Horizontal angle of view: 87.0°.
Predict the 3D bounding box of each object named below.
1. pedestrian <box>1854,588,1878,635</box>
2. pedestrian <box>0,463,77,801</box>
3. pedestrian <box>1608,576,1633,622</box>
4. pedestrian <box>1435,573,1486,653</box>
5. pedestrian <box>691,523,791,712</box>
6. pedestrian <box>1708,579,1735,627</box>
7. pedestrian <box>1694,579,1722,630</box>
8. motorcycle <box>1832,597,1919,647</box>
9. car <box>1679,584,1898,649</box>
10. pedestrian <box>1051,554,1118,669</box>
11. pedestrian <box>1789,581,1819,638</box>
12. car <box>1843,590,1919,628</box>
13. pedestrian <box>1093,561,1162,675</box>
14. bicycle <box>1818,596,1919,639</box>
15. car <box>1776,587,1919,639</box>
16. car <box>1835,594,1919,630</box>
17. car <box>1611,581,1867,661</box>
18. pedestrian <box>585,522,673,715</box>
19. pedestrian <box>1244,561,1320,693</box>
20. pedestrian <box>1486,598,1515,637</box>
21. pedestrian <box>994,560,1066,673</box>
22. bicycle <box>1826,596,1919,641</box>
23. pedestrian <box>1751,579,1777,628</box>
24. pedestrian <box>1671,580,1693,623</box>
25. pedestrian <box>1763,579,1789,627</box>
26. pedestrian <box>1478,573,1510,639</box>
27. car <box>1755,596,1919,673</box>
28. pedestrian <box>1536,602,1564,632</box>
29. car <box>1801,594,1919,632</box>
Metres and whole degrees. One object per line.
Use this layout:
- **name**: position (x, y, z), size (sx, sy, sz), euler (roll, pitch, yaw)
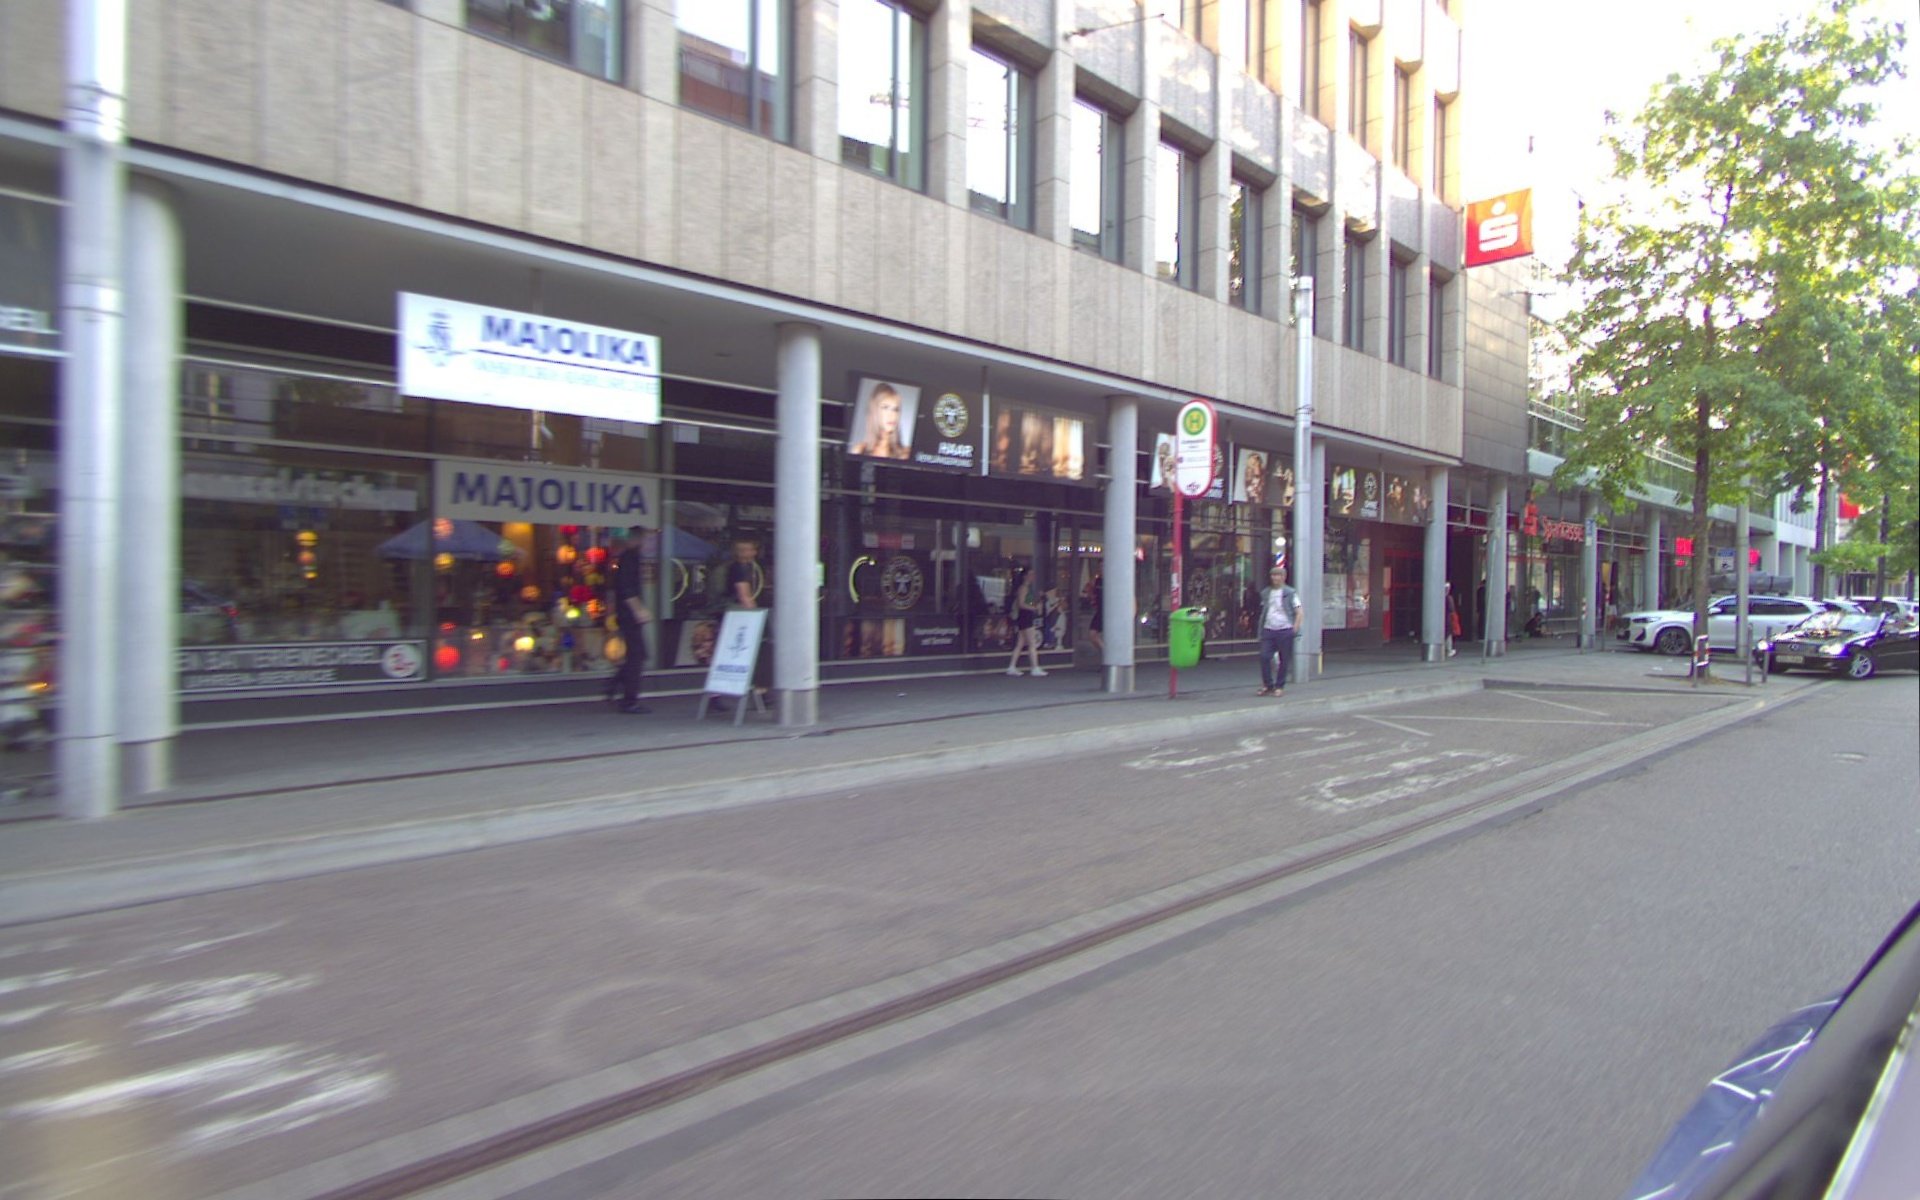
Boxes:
- **pedestrian**: position (33.206, 0.412, 37.086), size (0.616, 1.712, 0.618), euler (1, 0, 44)
- **pedestrian**: position (-5.771, 0.179, 6.122), size (0.644, 1.968, 0.579), euler (0, 2, -42)
- **pedestrian**: position (24.936, -0.054, 38.201), size (0.620, 1.712, 0.555), euler (1, 1, 18)
- **pedestrian**: position (10.834, 0.263, 21.898), size (0.728, 1.664, 0.749), euler (0, 2, -42)
- **pedestrian**: position (-2.327, 0.164, 10.756), size (0.782, 1.912, 0.708), euler (0, 2, -41)
- **pedestrian**: position (27.849, 0.112, 37.011), size (0.617, 1.712, 0.617), euler (0, 2, -41)
- **pedestrian**: position (25.861, 0.146, 34.983), size (0.617, 1.712, 0.617), euler (0, 2, -41)
- **motorcycle**: position (28.173, 0.662, 30.854), size (2.071, 1.370, 1.157), euler (2, 2, 0)
- **car**: position (24.503, 0.438, 30.129), size (4.570, 1.607, 1.910), euler (3, 2, 14)
- **pedestrian**: position (2.013, 0.160, 16.331), size (0.849, 1.794, 0.674), euler (0, 2, -43)
- **pedestrian**: position (27.559, 0.309, 33.046), size (0.617, 1.822, 0.617), euler (0, 2, -41)
- **car**: position (46.106, 0.422, 49.512), size (3.957, 1.809, 1.849), euler (-2, -1, 25)
- **pedestrian**: position (2.542, 0.251, 15.350), size (0.775, 1.664, 0.682), euler (0, 2, -43)
- **bicycle**: position (32.253, 0.623, 35.902), size (2.643, 1.475, 0.671), euler (-2, -1, 23)
- **car**: position (35.053, 0.508, 39.645), size (4.397, 1.904, 1.793), euler (-2, -1, 12)
- **car**: position (42.859, 0.528, 46.187), size (3.948, 1.530, 1.853), euler (-2, -1, 19)
- **car**: position (19.217, 0.479, 25.225), size (4.574, 1.650, 1.908), euler (3, 1, 17)
- **pedestrian**: position (-3.436, 0.173, 10.499), size (0.671, 1.912, 0.617), euler (0, 2, -40)
- **pedestrian**: position (4.041, 0.326, 12.720), size (0.627, 1.608, 0.669), euler (0, -1, -42)
- **pedestrian**: position (15.442, 0.491, 28.912), size (0.625, 1.048, 0.550), euler (2, 2, 40)
- **pedestrian**: position (1.067, 0.229, 15.401), size (0.805, 1.664, 0.711), euler (0, 2, -43)
- **bicycle**: position (31.695, 0.638, 34.887), size (2.642, 1.475, 0.724), euler (-2, -1, 22)
- **pedestrian**: position (28.690, 0.118, 36.109), size (0.617, 1.712, 0.617), euler (0, 2, -41)
- **pedestrian**: position (29.225, 0.055, 40.969), size (0.617, 1.712, 0.557), euler (0, 2, -41)
- **pedestrian**: position (29.511, 0.107, 36.590), size (0.617, 1.712, 0.617), euler (0, 2, -41)
- **pedestrian**: position (14.816, 0.150, 28.070), size (0.617, 1.794, 0.557), euler (0, 2, -41)
- **car**: position (18.813, 0.650, 20.979), size (4.470, 1.426, 1.803), euler (0, 0, -24)
- **pedestrian**: position (18.413, 0.512, 31.587), size (0.548, 0.892, 0.627), euler (0, 2, -42)
- **car**: position (39.776, 0.566, 44.421), size (3.948, 1.530, 1.789), euler (-2, -1, 19)
